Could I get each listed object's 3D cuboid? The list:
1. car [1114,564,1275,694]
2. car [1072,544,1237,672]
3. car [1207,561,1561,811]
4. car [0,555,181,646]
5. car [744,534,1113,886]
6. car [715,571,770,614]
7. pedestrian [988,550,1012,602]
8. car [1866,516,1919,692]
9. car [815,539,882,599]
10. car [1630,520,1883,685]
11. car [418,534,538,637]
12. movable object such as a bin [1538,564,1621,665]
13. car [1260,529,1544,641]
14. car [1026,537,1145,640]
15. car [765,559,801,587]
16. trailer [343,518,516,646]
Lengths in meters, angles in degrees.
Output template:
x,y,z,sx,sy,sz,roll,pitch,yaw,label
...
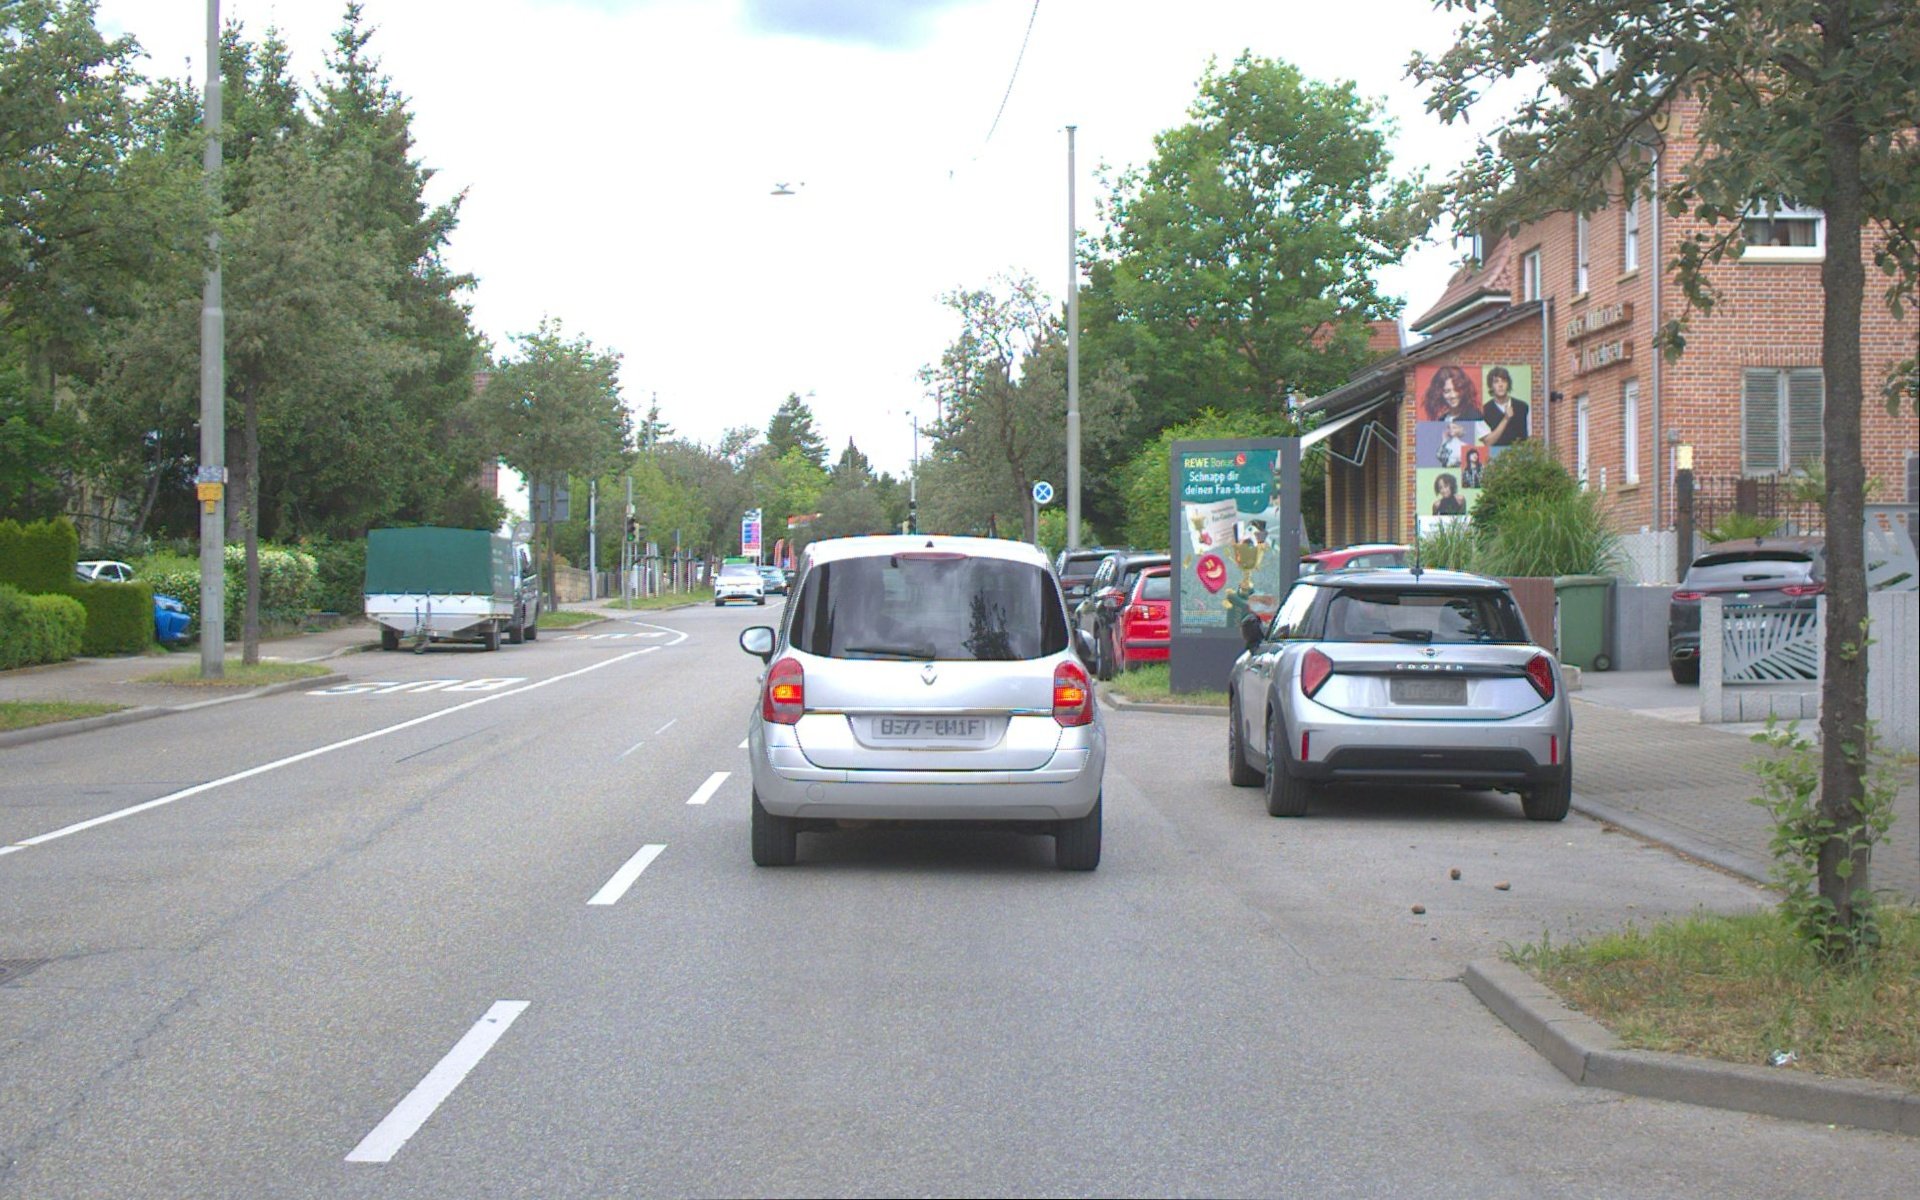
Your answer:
x,y,z,sx,sy,sz,roll,pitch,yaw,label
2.677,0.299,39.891,1.662,1.388,3.668,-1,1,1,car
2.468,0.066,44.397,1.662,1.559,4.099,0,1,-3,car
2.507,0.484,21.164,1.650,1.378,4.000,0,0,0,car
-14.101,0.003,53.015,3.986,1.333,1.578,1,-1,-11,car
-0.157,0.500,17.465,1.630,1.551,4.000,1,0,0,car
-8.324,-0.278,131.270,1.905,1.612,4.001,0,0,-6,car
1.269,-0.775,108.969,0.705,1.641,0.773,-1,1,-2,pedestrian
10.259,-0.090,29.774,4.259,1.501,1.695,-4,-1,-8,car
-3.156,-0.882,97.599,1.829,1.670,3.574,0,1,-1,car
8.246,-0.020,35.307,1.820,1.376,4.475,-3,2,22,car
-9.442,-0.271,67.617,1.887,1.915,4.562,1,0,-3,car
6.874,0.161,38.170,0.776,1.100,0.691,-1,1,-2,movable object such as a bin
6.899,-0.244,53.860,3.986,1.491,1.810,-3,1,-9,car
2.194,-0.200,61.190,1.812,1.737,4.000,-1,0,-2,car
-9.143,-1.396,177.664,1.721,1.406,4.000,1,0,-4,car
-9.181,-0.296,59.974,2.312,2.079,5.873,1,0,-3,trailer
